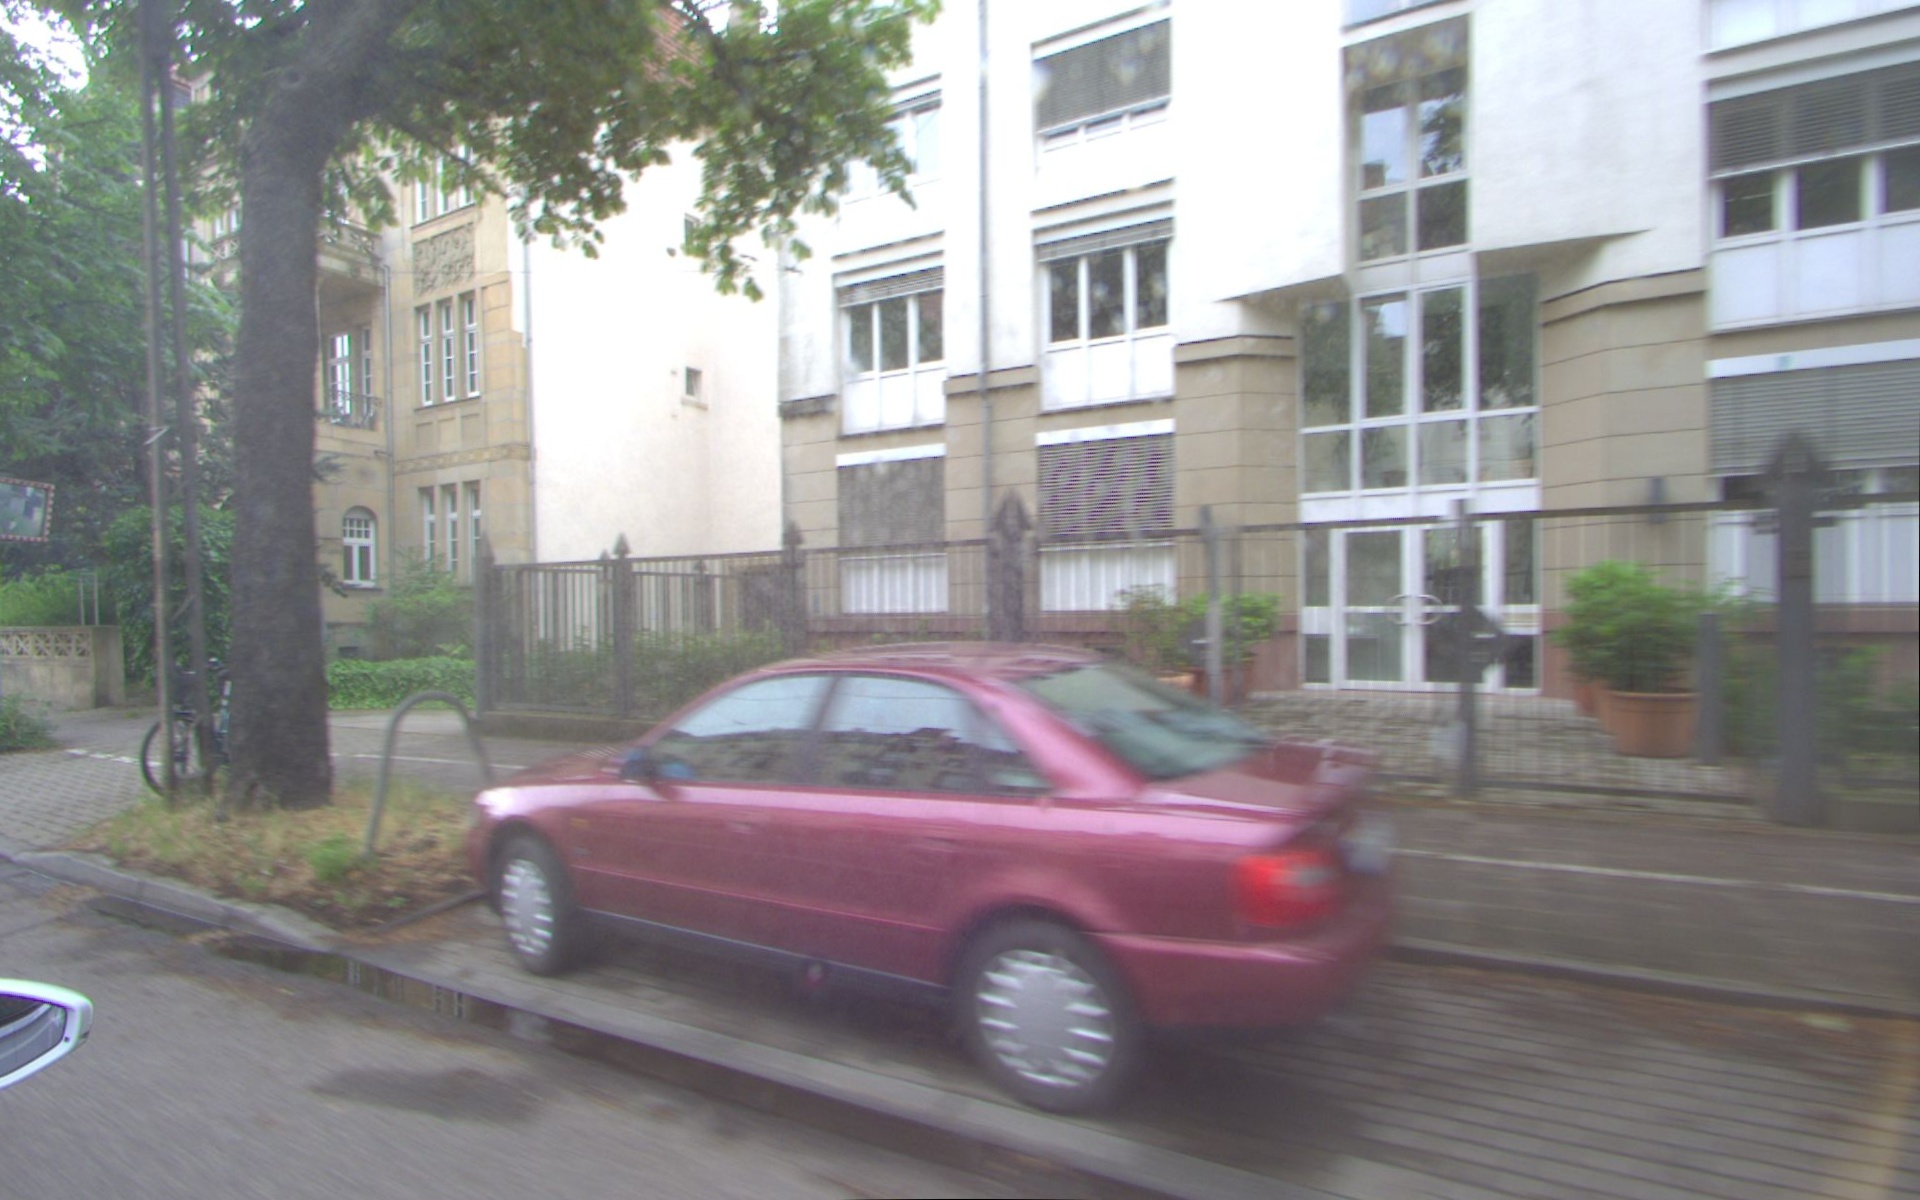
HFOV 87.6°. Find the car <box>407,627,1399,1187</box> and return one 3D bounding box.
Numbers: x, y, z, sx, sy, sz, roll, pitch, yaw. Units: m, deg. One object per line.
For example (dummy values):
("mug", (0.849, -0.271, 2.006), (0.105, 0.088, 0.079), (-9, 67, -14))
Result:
("car", (-0.419, 0.870, 4.412), (4.164, 1.418, 1.599), (-1, 2, 30))

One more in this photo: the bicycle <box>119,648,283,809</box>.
("bicycle", (-6.529, 1.041, 8.713), (0.425, 1.213, 1.902), (-1, -2, -14))
